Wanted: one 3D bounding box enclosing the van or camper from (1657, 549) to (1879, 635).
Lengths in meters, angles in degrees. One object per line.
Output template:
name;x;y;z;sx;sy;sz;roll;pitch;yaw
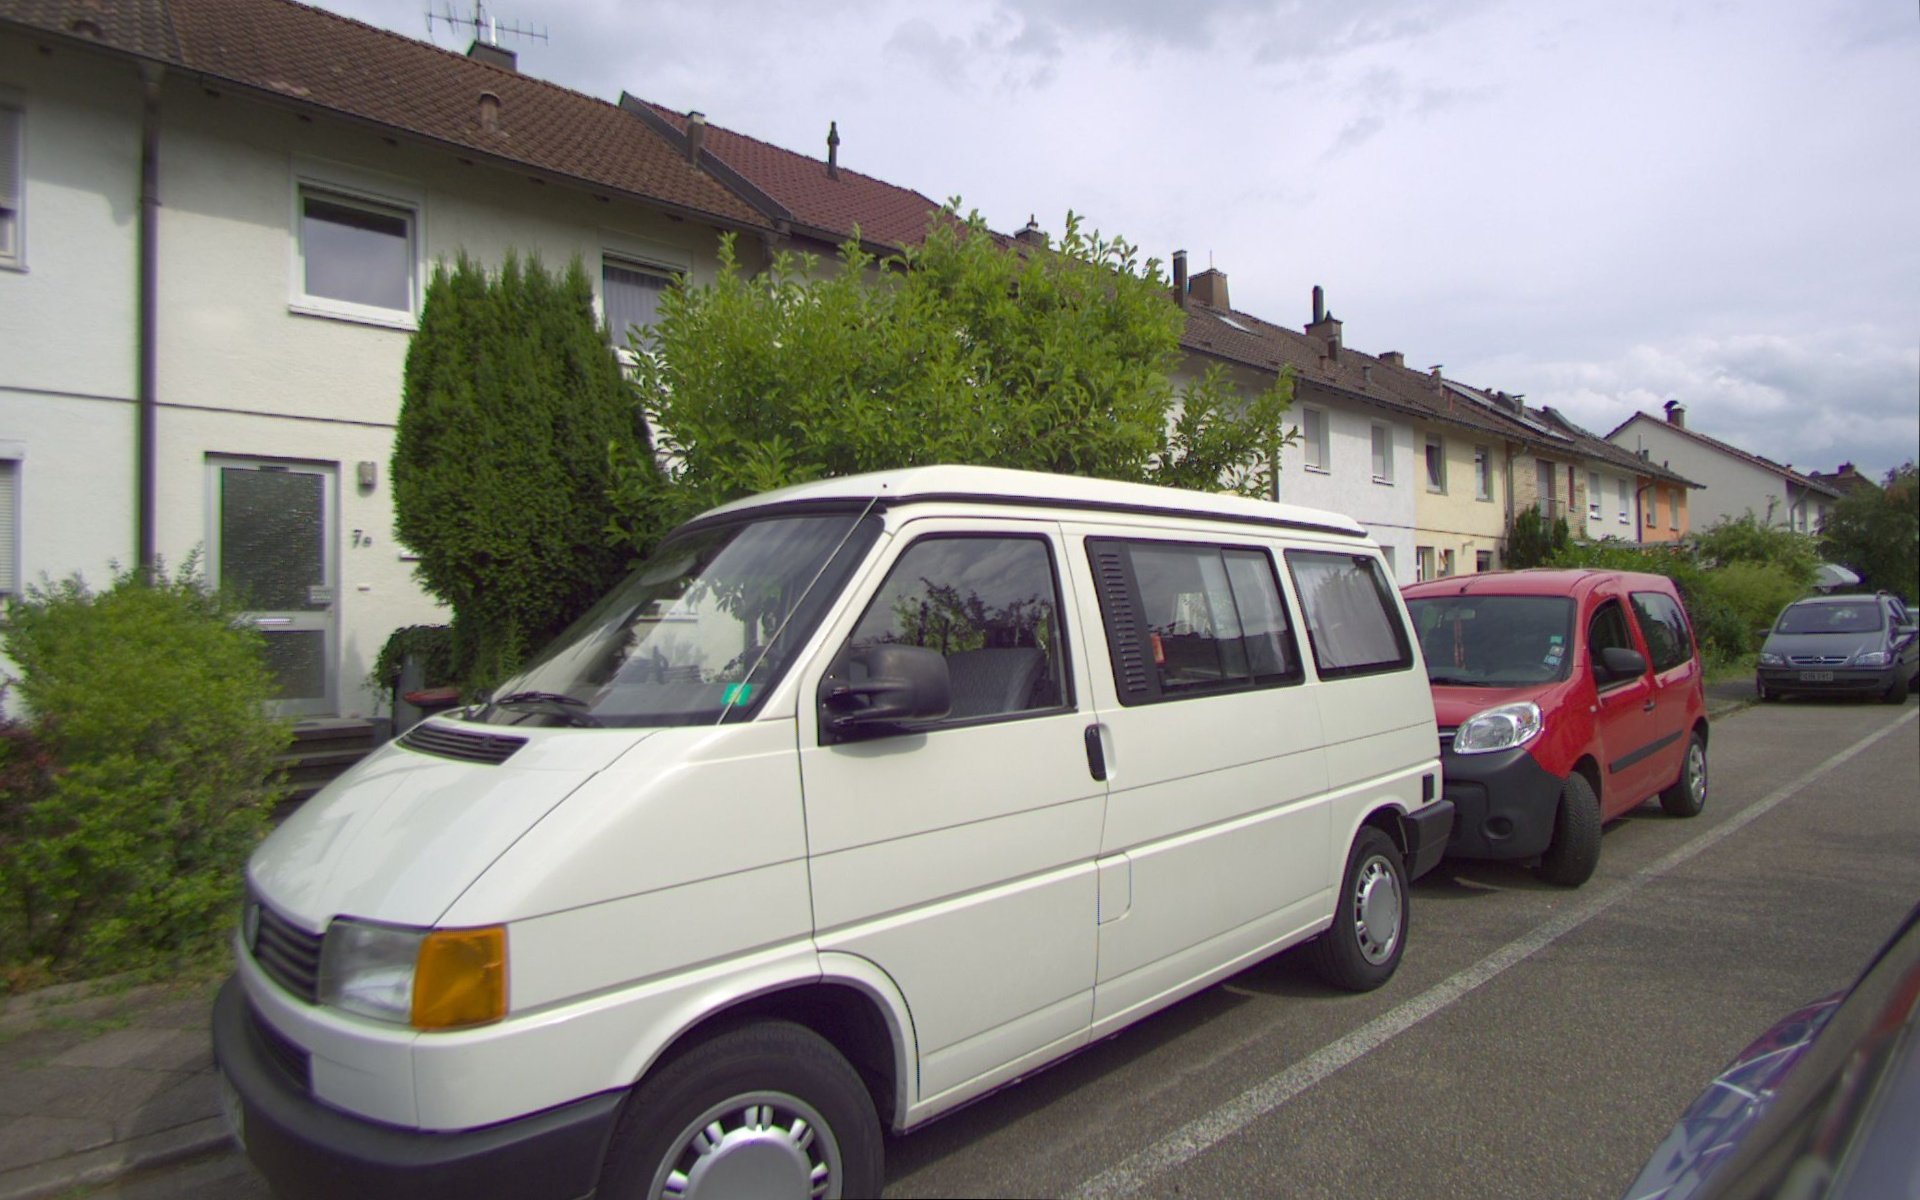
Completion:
van or camper;29.015;-0.247;36.575;2.490;2.854;5.815;0;0;-36

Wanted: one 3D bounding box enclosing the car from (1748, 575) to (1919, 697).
car;14.238;0.507;16.176;4.388;1.674;1.869;0;-1;-43

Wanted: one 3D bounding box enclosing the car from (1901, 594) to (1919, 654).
car;24.927;0.564;25.301;4.056;1.446;1.734;0;-1;-43

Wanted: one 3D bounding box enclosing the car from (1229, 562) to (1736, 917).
car;3.803;0.657;6.954;4.338;1.672;1.811;0;-1;-44

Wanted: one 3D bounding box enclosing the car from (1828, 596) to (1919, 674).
car;19.031;0.642;20.305;4.687;1.425;1.869;0;-3;-43

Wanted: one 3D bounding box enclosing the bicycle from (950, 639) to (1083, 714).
bicycle;0.735;0.962;13.001;1.571;0.877;0.741;-1;-1;19

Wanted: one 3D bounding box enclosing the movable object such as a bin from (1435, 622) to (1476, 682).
movable object such as a bin;8.738;0.901;17.847;0.425;1.000;0.874;-1;-1;42

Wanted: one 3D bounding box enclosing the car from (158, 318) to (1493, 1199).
car;0.040;0.574;3.799;4.667;1.972;2.023;0;-1;-43
